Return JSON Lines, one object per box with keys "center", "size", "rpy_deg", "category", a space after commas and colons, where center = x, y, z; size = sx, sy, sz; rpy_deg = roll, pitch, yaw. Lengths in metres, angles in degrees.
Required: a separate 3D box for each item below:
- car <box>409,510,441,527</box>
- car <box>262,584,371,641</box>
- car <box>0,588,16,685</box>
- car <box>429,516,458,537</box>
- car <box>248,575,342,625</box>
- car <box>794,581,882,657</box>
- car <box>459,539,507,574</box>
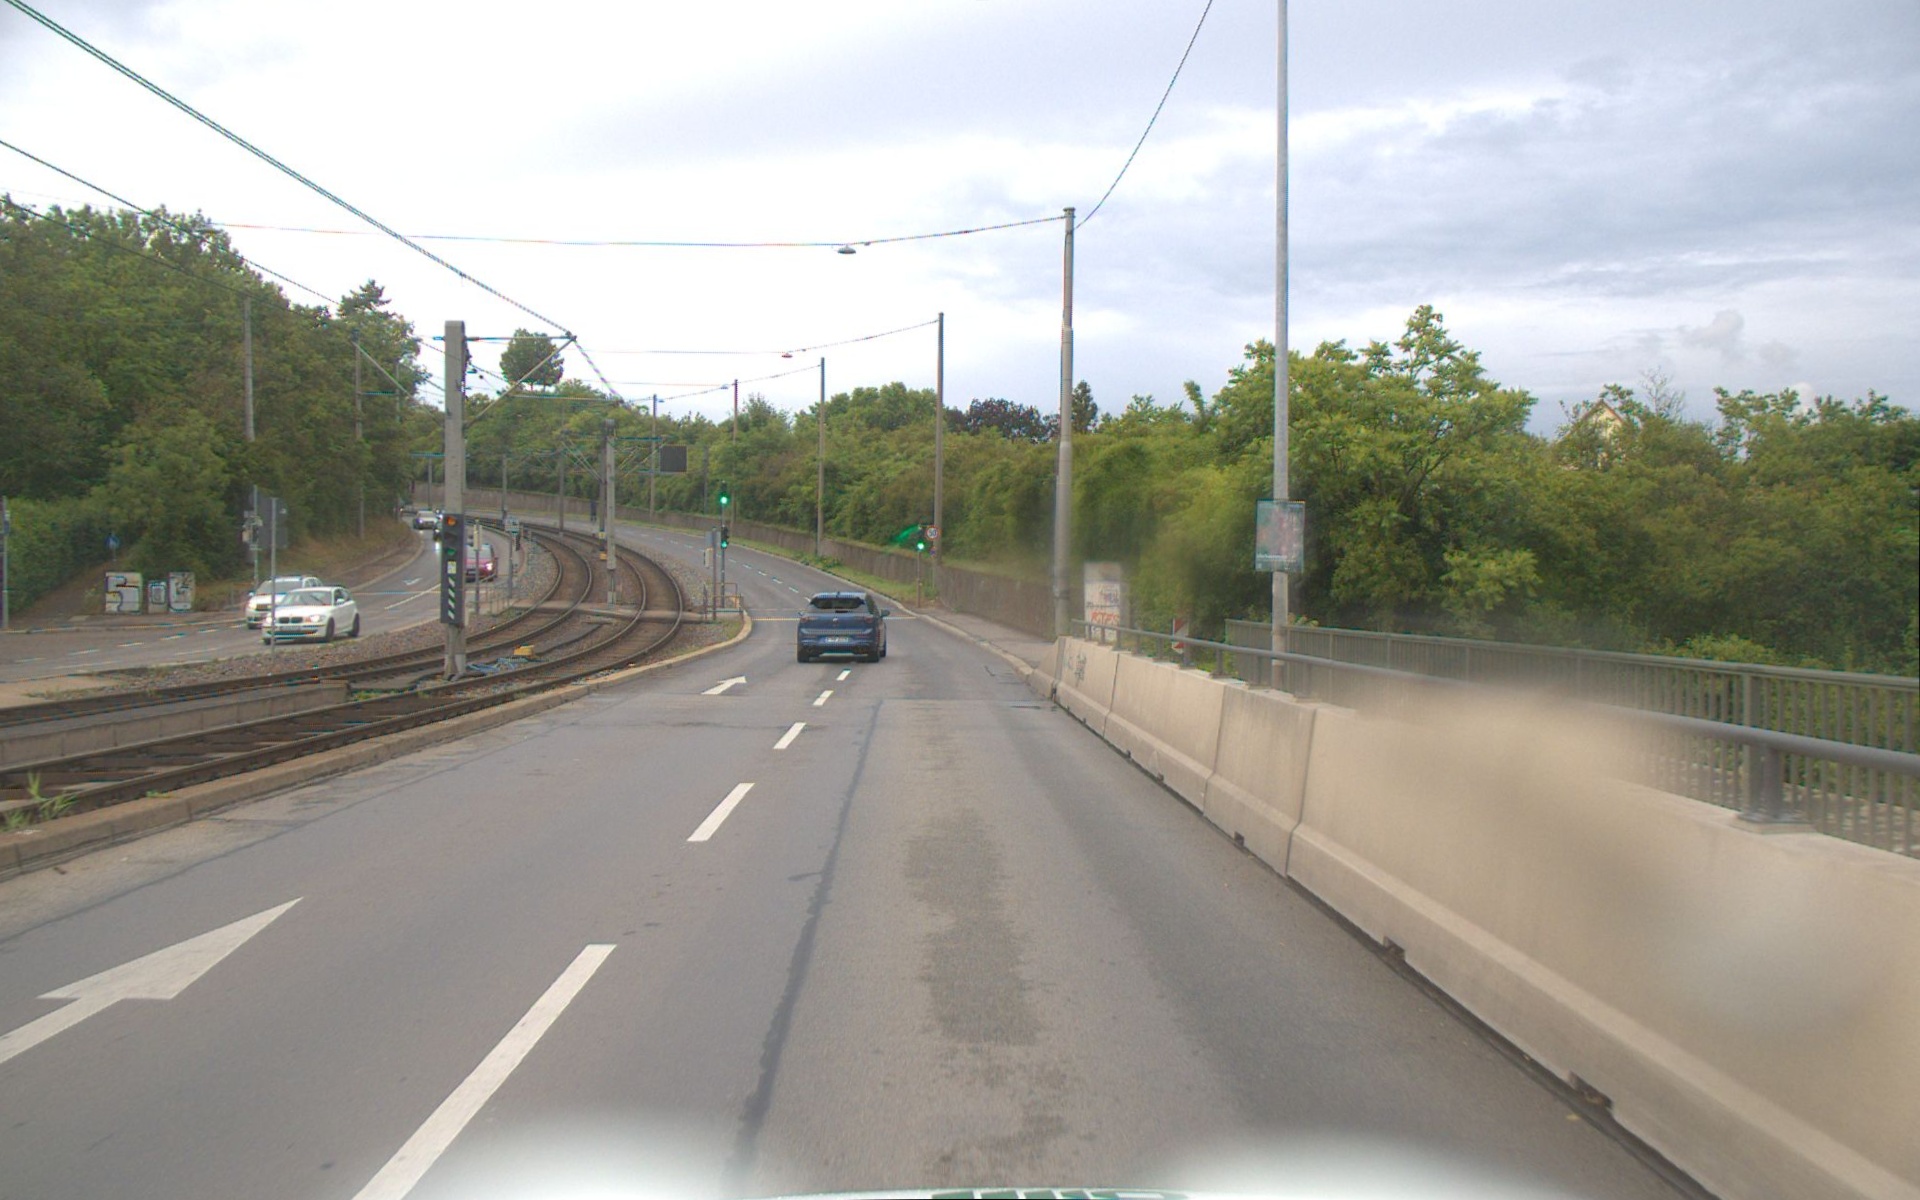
{"center": [-46.128, -7.034, 142.561], "size": [1.799, 1.403, 4.662], "rpy_deg": [-2, 5, -29], "category": "car"}
{"center": [-17.449, 0.345, 45.047], "size": [1.697, 1.462, 4.485], "rpy_deg": [-1, 0, -7], "category": "car"}
{"center": [-15.932, 0.613, 25.061], "size": [1.568, 1.519, 3.017], "rpy_deg": [-1, 1, -2], "category": "car"}
{"center": [-38.394, -5.498, 122.954], "size": [1.693, 1.483, 4.247], "rpy_deg": [-2, 3, -23], "category": "car"}
{"center": [-21.474, 0.001, 53.560], "size": [1.787, 1.541, 4.521], "rpy_deg": [0, 0, -8], "category": "car"}
{"center": [-2.602, 0.395, 35.930], "size": [1.728, 1.527, 3.998], "rpy_deg": [1, 0, -2], "category": "car"}
{"center": [-22.792, -2.072, 79.139], "size": [1.815, 1.625, 4.719], "rpy_deg": [-1, 1, -11], "category": "car"}
